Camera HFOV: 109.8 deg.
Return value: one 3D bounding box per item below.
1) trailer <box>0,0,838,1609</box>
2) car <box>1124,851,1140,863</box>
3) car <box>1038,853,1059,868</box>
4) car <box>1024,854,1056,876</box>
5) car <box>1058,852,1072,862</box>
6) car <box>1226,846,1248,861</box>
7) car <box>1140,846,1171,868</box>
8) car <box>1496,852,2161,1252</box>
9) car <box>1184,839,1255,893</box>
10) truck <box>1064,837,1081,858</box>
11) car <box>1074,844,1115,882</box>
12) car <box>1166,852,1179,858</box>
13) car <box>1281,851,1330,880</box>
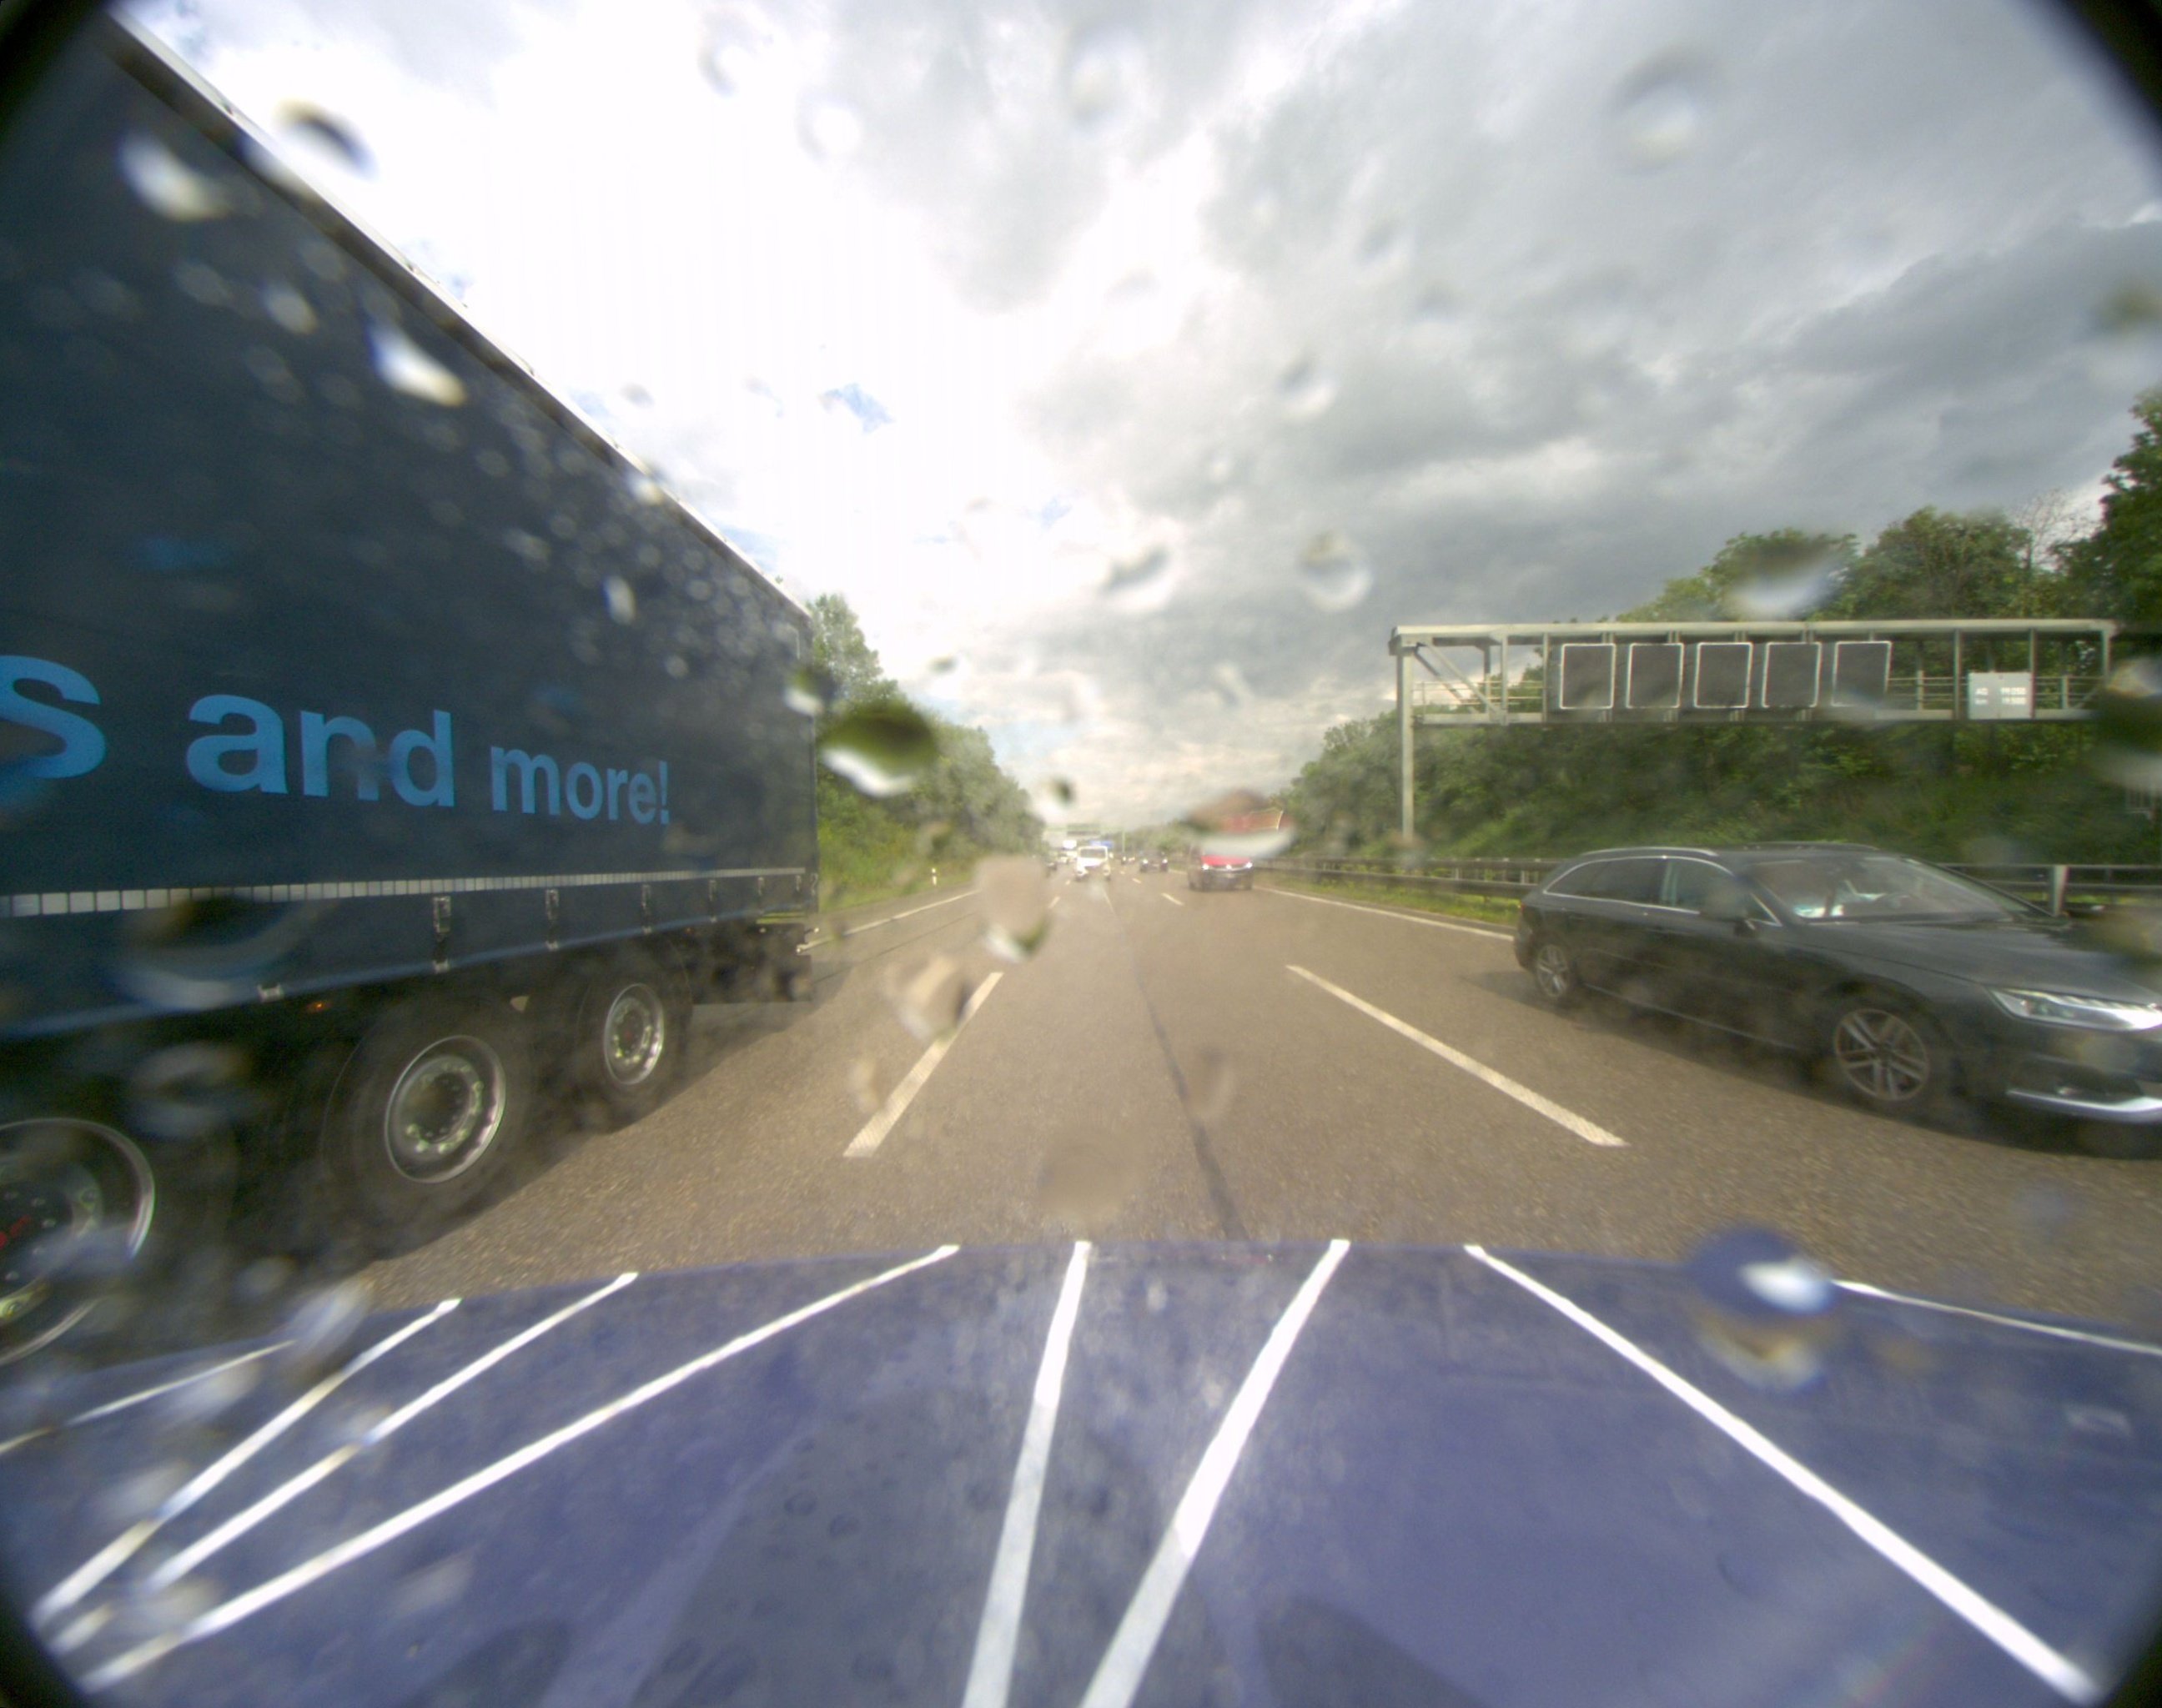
[{"bbox_3d":[-3.862,-0.214,0.270,2.641,3.972,14.063,-2,1,1],"label":"trailer"},{"bbox_3d":[6.503,0.308,97.723,1.798,1.410,4.839,-2,1,2],"label":"car"},{"bbox_3d":[-3.235,0.632,76.901,1.798,1.410,4.839,-2,1,2],"label":"car"},{"bbox_3d":[-2.866,0.744,53.893,1.798,1.410,4.839,-2,1,2],"label":"car"},{"bbox_3d":[-2.260,0.426,110.400,1.798,1.410,4.839,-2,1,2],"label":"car"},{"bbox_3d":[18.963,-0.103,92.593,1.859,1.653,4.236,-2,1,1],"label":"car"},{"bbox_3d":[5.731,0.202,58.670,2.009,1.488,4.839,-2,1,2],"label":"car"},{"bbox_3d":[5.015,0.740,5.174,1.798,1.410,4.839,-2,1,2],"label":"car"},{"bbox_3d":[5.254,0.402,29.397,1.926,1.855,4.839,-2,1,2],"label":"car"},{"bbox_3d":[-1.606,-1.275,145.876,3.064,3.827,8.799,0,0,1],"label":"truck"},{"bbox_3d":[0.814,0.455,43.840,2.124,1.988,5.982,-2,1,2],"label":"car"},{"bbox_3d":[16.205,0.166,134.462,1.830,1.121,4.000,-2,1,1],"label":"car"},{"bbox_3d":[13.915,0.689,47.297,1.771,1.653,4.112,-2,1,1],"label":"car"}]
